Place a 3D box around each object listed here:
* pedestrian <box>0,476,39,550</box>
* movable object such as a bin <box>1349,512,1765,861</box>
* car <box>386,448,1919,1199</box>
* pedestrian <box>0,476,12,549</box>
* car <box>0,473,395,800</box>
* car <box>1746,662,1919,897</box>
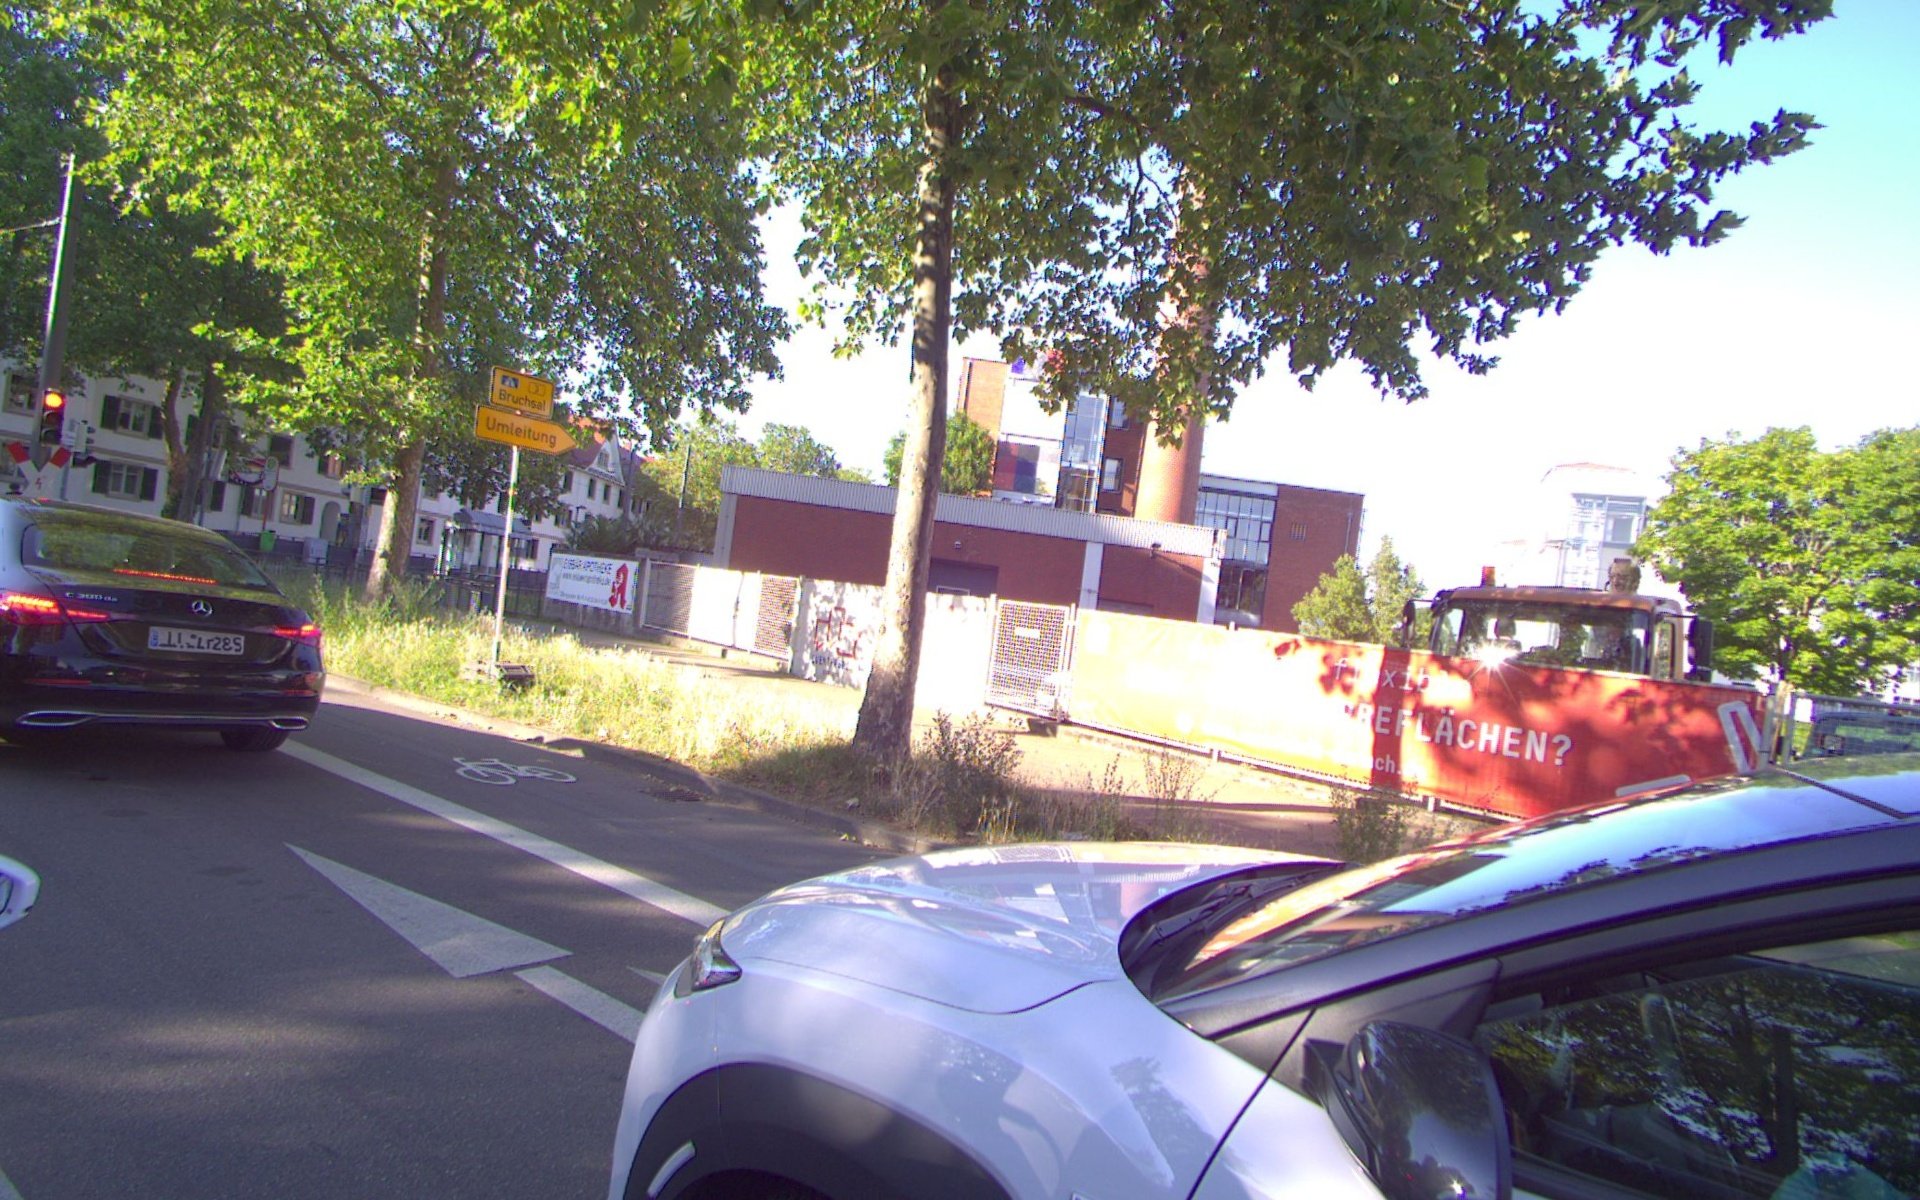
[{"bbox_3d":[-26.515,-2.430,28.134,0.825,1.940,0.707,7,-1,28],"label":"pedestrian"},{"bbox_3d":[7.651,1.033,12.410,3.172,3.084,6.266,6,-2,41],"label":"movable object such as a bin"},{"bbox_3d":[1.238,0.908,1.355,3.901,1.616,1.893,9,-1,33],"label":"car"},{"bbox_3d":[-26.113,-2.395,26.915,0.825,1.940,0.707,7,-1,28],"label":"pedestrian"},{"bbox_3d":[-5.952,0.016,6.667,4.308,1.508,1.893,9,-1,32],"label":"car"},{"bbox_3d":[9.580,1.823,10.153,2.016,1.849,4.583,6,-3,44],"label":"car"}]
